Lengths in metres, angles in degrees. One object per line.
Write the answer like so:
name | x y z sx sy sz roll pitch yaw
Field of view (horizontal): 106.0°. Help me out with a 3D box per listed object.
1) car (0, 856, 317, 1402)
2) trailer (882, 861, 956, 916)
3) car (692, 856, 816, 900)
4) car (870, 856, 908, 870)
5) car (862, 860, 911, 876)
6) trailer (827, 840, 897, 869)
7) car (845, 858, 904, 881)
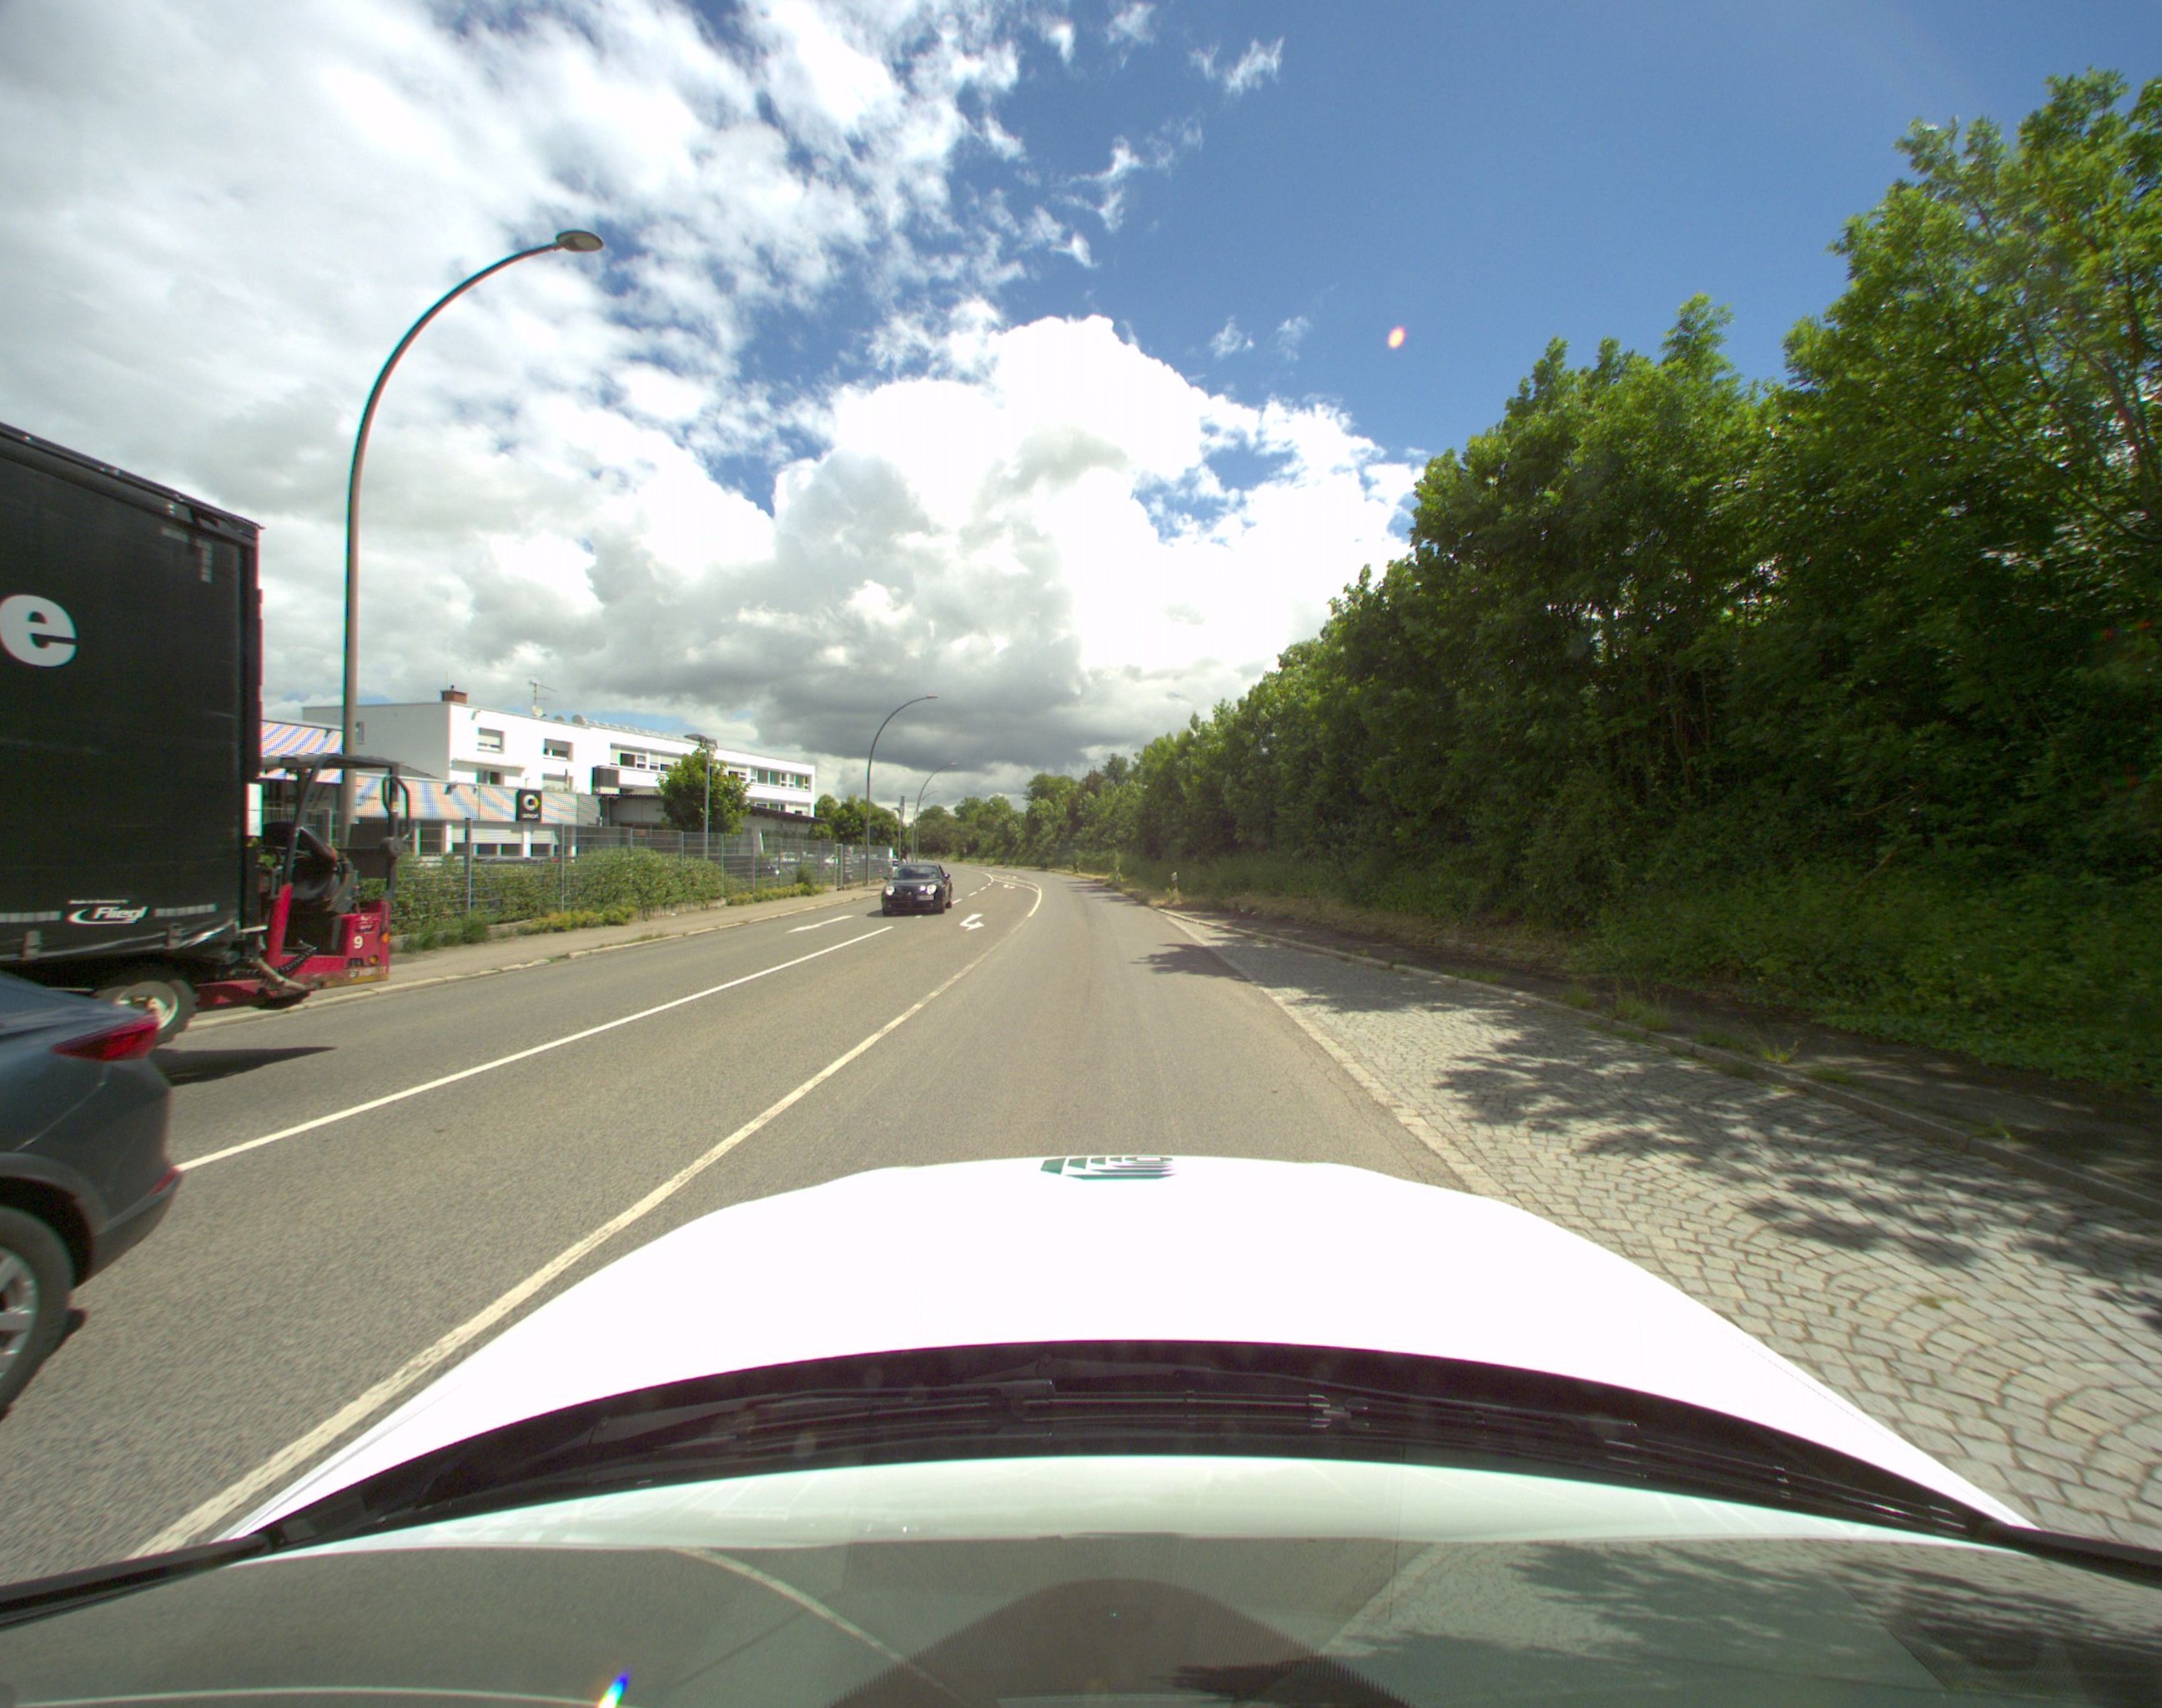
car | -3.856 0.743 0.955 1.833 1.463 4.254 -1 -1 1
trailer | -4.659 0.947 23.877 1.645 1.423 3.993 -1 0 -5
car | -13.371 0.971 33.493 4.178 1.701 2.173 1 -1 -1
car | -25.196 1.151 106.992 4.339 1.763 1.976 1 -1 -44
car | -18.262 1.300 76.440 4.155 1.479 1.805 1 -1 22
trailer | -32.873 0.102 122.279 9.780 4.093 2.799 -1 0 -29
car | -16.189 1.204 63.853 3.940 1.701 2.185 1 -1 22
